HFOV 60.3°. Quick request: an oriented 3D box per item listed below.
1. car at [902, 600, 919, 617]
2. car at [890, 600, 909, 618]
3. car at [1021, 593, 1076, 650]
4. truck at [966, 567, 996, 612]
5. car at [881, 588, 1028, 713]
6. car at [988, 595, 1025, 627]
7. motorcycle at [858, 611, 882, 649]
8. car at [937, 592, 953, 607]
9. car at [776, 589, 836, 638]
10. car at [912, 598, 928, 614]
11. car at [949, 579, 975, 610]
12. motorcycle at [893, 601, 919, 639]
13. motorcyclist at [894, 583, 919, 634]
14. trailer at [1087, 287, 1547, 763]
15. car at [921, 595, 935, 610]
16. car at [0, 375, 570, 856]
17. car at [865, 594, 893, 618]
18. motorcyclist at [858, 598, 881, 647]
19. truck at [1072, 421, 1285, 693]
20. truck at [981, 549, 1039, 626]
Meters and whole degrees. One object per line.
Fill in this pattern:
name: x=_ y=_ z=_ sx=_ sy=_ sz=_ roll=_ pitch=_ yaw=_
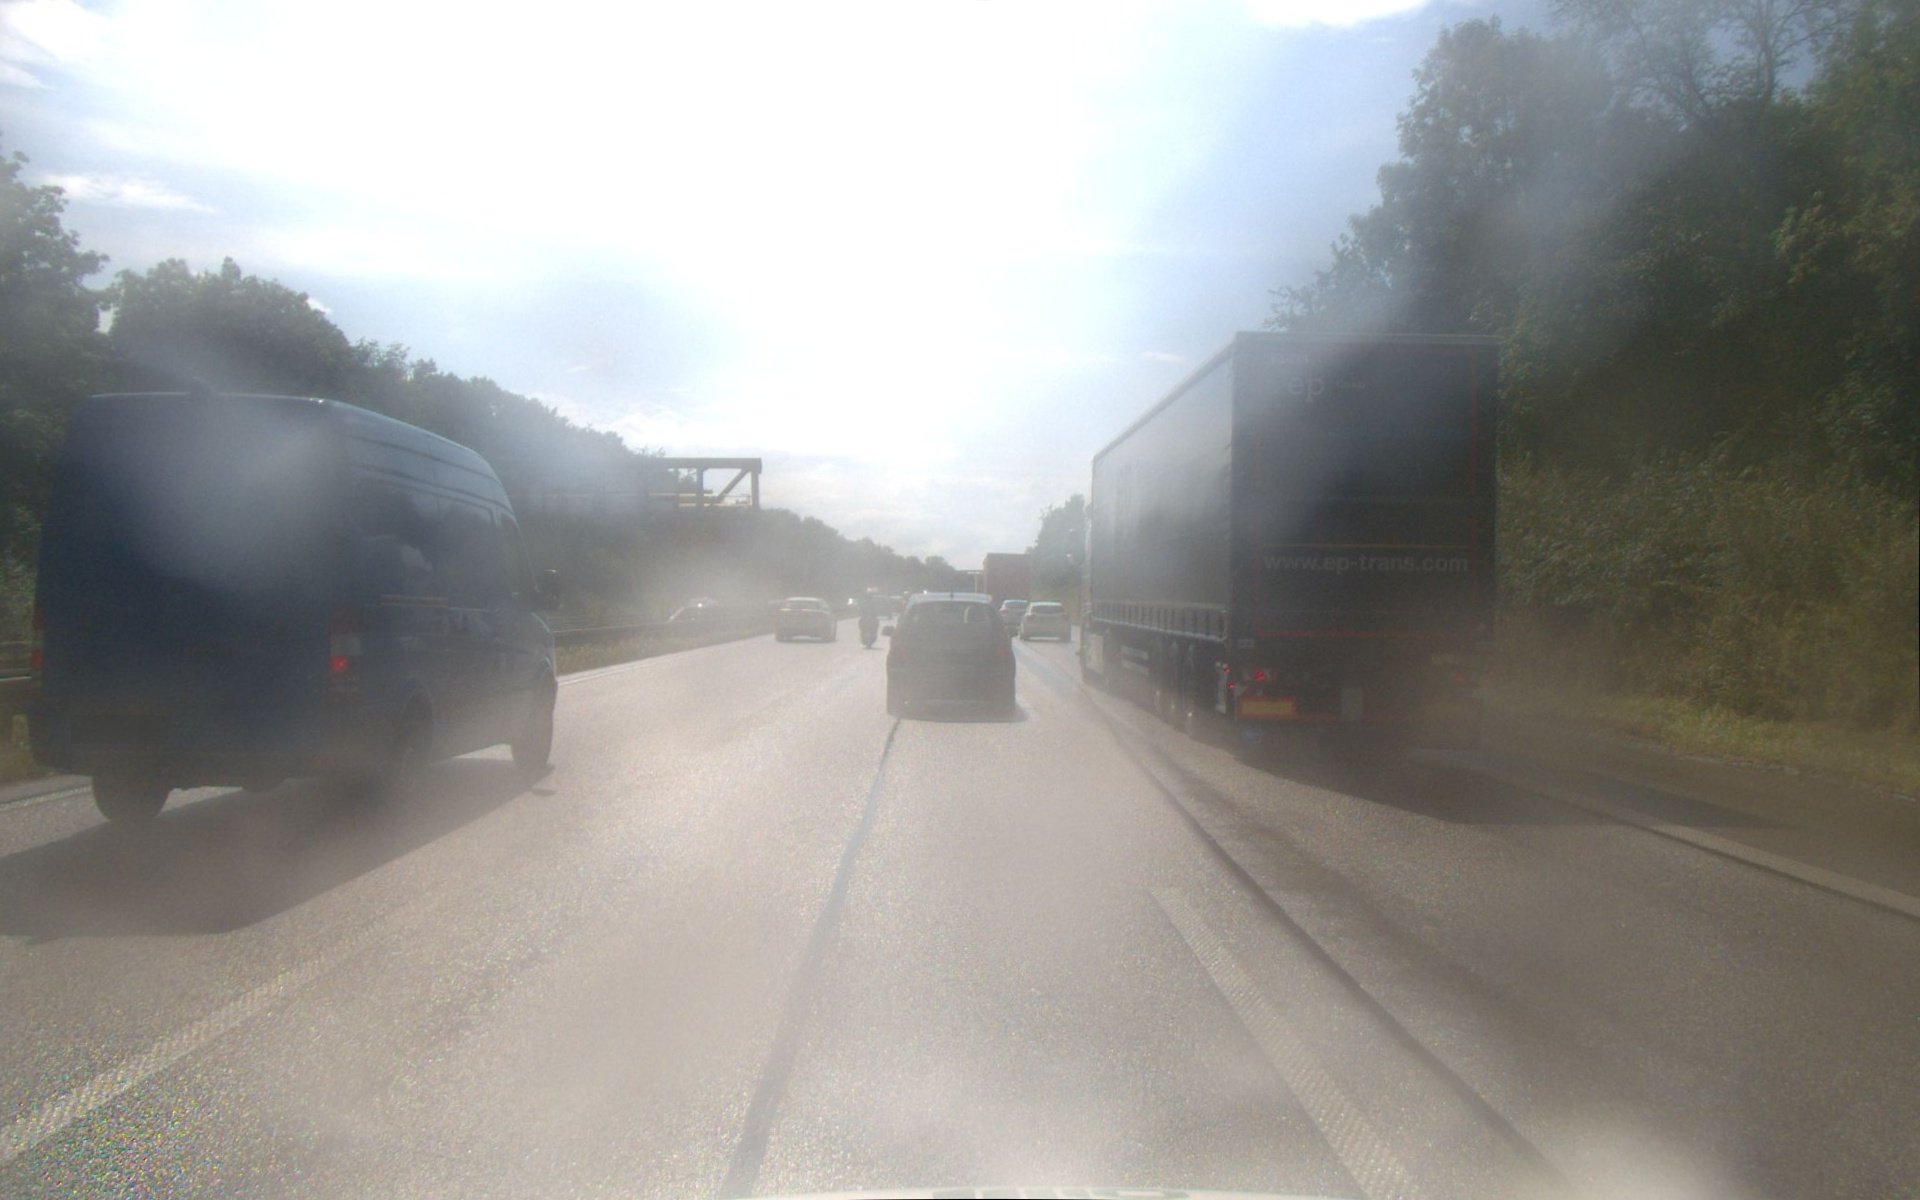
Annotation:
car: x=-5.895 y=1.021 z=196.085 sx=1.953 sy=2.049 sz=3.999 roll=1 pitch=0 yaw=-1
car: x=-5.400 y=0.778 z=148.335 sx=1.641 sy=1.625 sz=3.435 roll=1 pitch=0 yaw=-1
car: x=3.302 y=0.788 z=62.226 sx=1.811 sy=2.049 sz=4.086 roll=1 pitch=0 yaw=-1
truck: x=2.285 y=-1.097 z=181.521 sx=2.823 sy=4.769 sz=12.655 roll=1 pitch=0 yaw=-1
car: x=-0.116 y=0.648 z=23.439 sx=1.876 sy=1.592 sz=4.312 roll=1 pitch=0 yaw=-1
car: x=2.314 y=0.541 z=82.931 sx=1.641 sy=1.516 sz=3.435 roll=1 pitch=0 yaw=-1
motorcycle: x=-2.716 y=0.892 z=49.674 sx=0.662 sy=1.106 sz=1.980 roll=1 pitch=0 yaw=-4
car: x=-1.506 y=-0.085 z=168.651 sx=1.599 sy=1.516 sz=3.435 roll=1 pitch=0 yaw=-1
car: x=-5.272 y=0.449 z=57.051 sx=1.723 sy=1.622 sz=4.329 roll=1 pitch=0 yaw=-1
car: x=-5.105 y=0.745 z=212.014 sx=1.953 sy=2.049 sz=3.999 roll=1 pitch=0 yaw=-1
car: x=0.115 y=-0.371 z=109.086 sx=1.641 sy=1.970 sz=3.772 roll=1 pitch=0 yaw=-1
motorcycle: x=-1.921 y=0.694 z=58.648 sx=0.803 sy=1.285 sz=2.115 roll=1 pitch=0 yaw=-4
motorcyclist: x=-1.914 y=0.307 z=58.610 sx=0.805 sy=1.791 sz=1.389 roll=1 pitch=-1 yaw=-4
trailer: x=3.860 y=-0.691 z=22.407 sx=3.025 sy=4.388 sz=14.102 roll=1 pitch=0 yaw=-1
car: x=-4.583 y=0.338 z=236.985 sx=1.953 sy=2.049 sz=3.999 roll=1 pitch=0 yaw=-1
car: x=-4.501 y=0.091 z=12.206 sx=1.975 sy=2.695 sz=5.775 roll=1 pitch=0 yaw=-1
car: x=-5.747 y=0.427 z=118.010 sx=1.854 sy=1.656 sz=4.194 roll=1 pitch=0 yaw=-1
motorcyclist: x=-2.711 y=0.667 z=49.673 sx=0.657 sy=1.467 sz=1.019 roll=1 pitch=-1 yaw=-4
truck: x=3.779 y=-0.689 z=29.976 sx=2.990 sy=4.401 sz=5.885 roll=1 pitch=0 yaw=-1
truck: x=2.975 y=-0.741 z=101.557 sx=3.137 sy=4.481 sz=9.430 roll=1 pitch=0 yaw=-1
